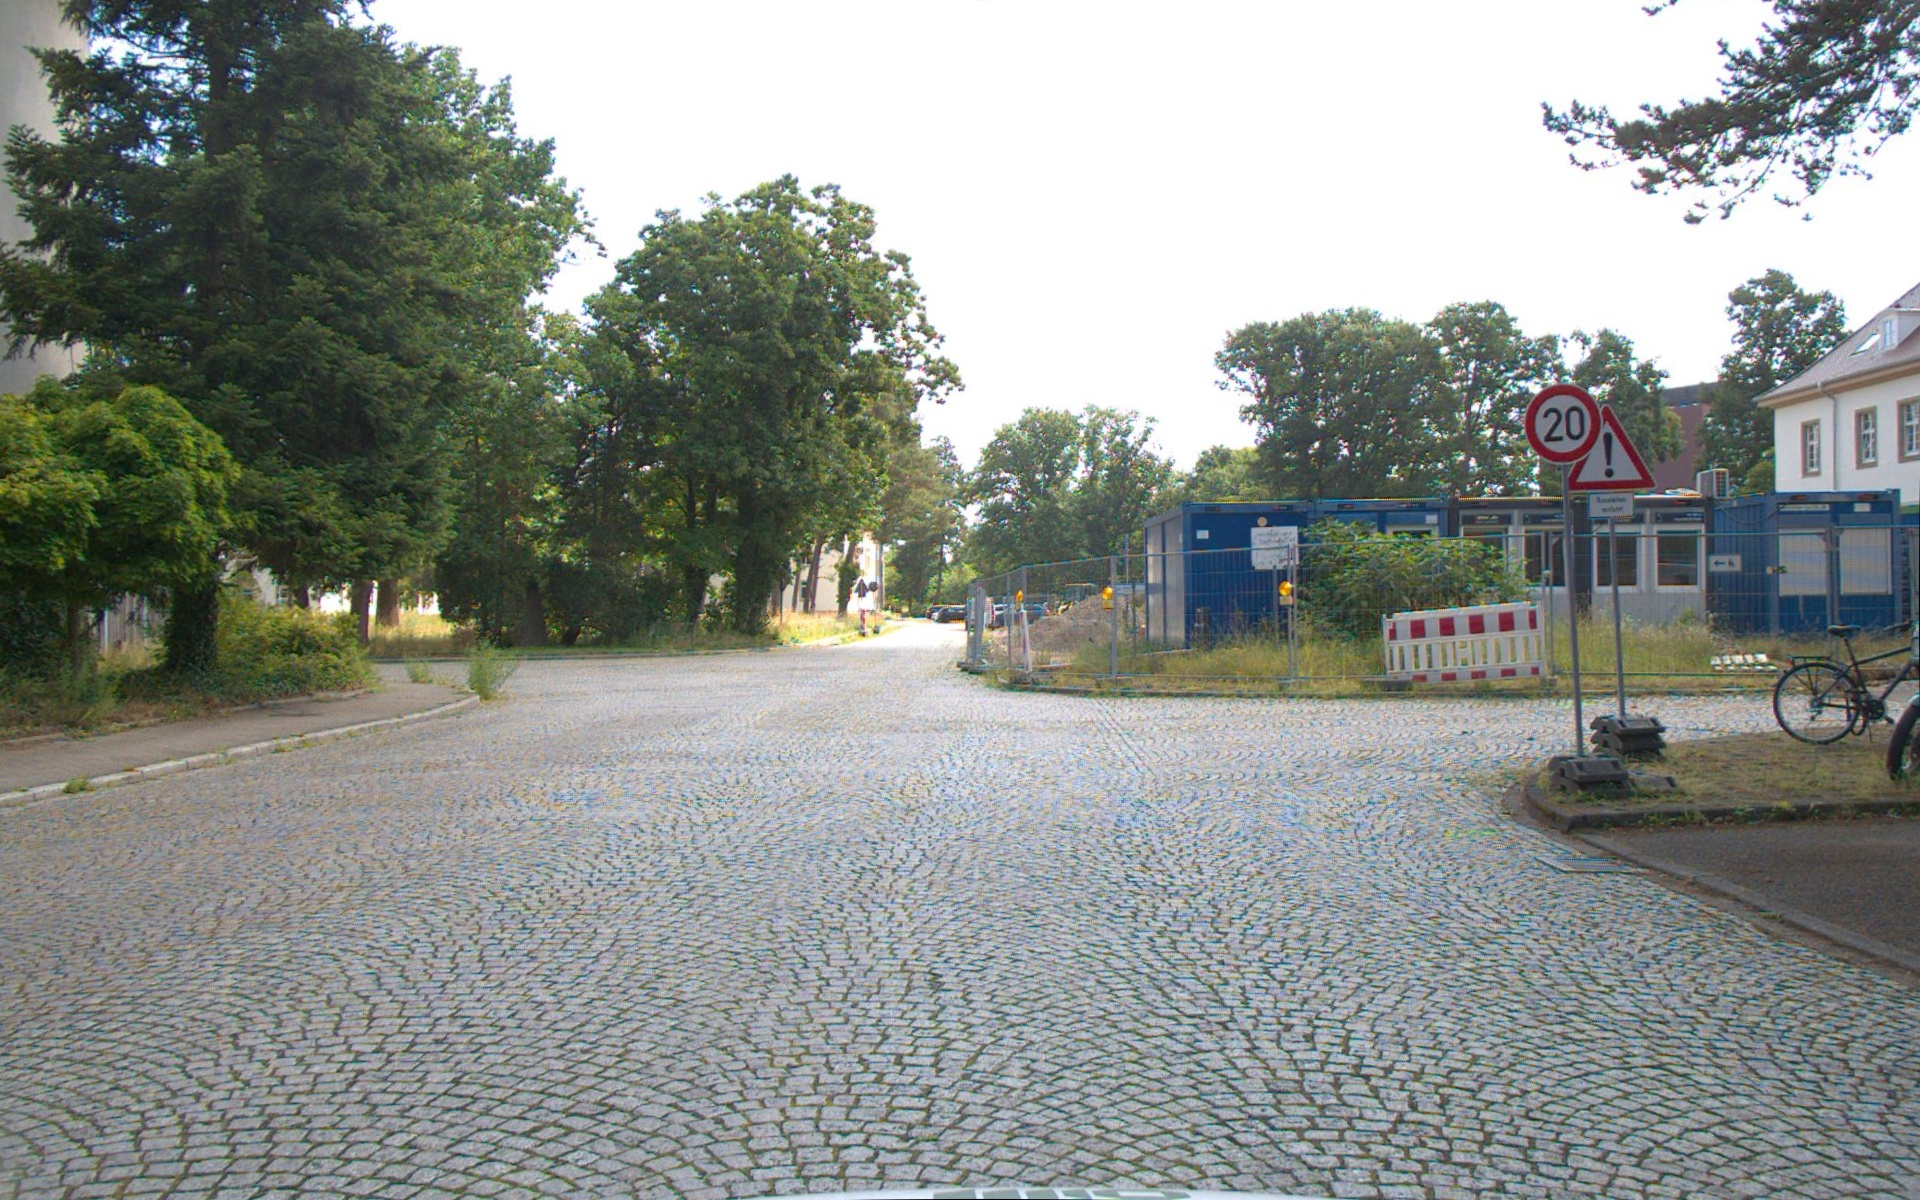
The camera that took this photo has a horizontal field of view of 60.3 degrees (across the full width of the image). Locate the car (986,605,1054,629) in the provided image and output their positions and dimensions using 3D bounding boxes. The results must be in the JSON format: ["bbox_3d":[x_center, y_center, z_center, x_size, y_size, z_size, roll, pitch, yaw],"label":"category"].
[{"bbox_3d":[4.016,1.117,110.635,4.308,1.537,2.002,0,0,8],"label":"car"}]

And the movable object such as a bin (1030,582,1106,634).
[{"bbox_3d":[5.682,0.400,86.404,2.088,2.638,4.783,-1,0,29],"label":"movable object such as a bin"}]

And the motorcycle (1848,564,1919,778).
[{"bbox_3d":[7.833,0.474,12.152,2.232,1.511,0.756,-1,0,-5],"label":"motorcycle"}]

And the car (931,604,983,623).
[{"bbox_3d":[-0.309,1.264,154.696,4.687,1.669,1.998,0,-1,-5],"label":"car"}]

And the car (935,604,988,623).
[{"bbox_3d":[0.119,1.250,151.594,4.687,1.669,1.998,0,-1,-5],"label":"car"}]

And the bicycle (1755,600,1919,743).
[{"bbox_3d":[8.102,0.621,14.604,1.859,1.218,0.656,-1,0,20],"label":"bicycle"}]

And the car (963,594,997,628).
[{"bbox_3d":[1.217,0.674,103.134,1.953,2.049,4.090,0,-1,-1],"label":"car"}]
